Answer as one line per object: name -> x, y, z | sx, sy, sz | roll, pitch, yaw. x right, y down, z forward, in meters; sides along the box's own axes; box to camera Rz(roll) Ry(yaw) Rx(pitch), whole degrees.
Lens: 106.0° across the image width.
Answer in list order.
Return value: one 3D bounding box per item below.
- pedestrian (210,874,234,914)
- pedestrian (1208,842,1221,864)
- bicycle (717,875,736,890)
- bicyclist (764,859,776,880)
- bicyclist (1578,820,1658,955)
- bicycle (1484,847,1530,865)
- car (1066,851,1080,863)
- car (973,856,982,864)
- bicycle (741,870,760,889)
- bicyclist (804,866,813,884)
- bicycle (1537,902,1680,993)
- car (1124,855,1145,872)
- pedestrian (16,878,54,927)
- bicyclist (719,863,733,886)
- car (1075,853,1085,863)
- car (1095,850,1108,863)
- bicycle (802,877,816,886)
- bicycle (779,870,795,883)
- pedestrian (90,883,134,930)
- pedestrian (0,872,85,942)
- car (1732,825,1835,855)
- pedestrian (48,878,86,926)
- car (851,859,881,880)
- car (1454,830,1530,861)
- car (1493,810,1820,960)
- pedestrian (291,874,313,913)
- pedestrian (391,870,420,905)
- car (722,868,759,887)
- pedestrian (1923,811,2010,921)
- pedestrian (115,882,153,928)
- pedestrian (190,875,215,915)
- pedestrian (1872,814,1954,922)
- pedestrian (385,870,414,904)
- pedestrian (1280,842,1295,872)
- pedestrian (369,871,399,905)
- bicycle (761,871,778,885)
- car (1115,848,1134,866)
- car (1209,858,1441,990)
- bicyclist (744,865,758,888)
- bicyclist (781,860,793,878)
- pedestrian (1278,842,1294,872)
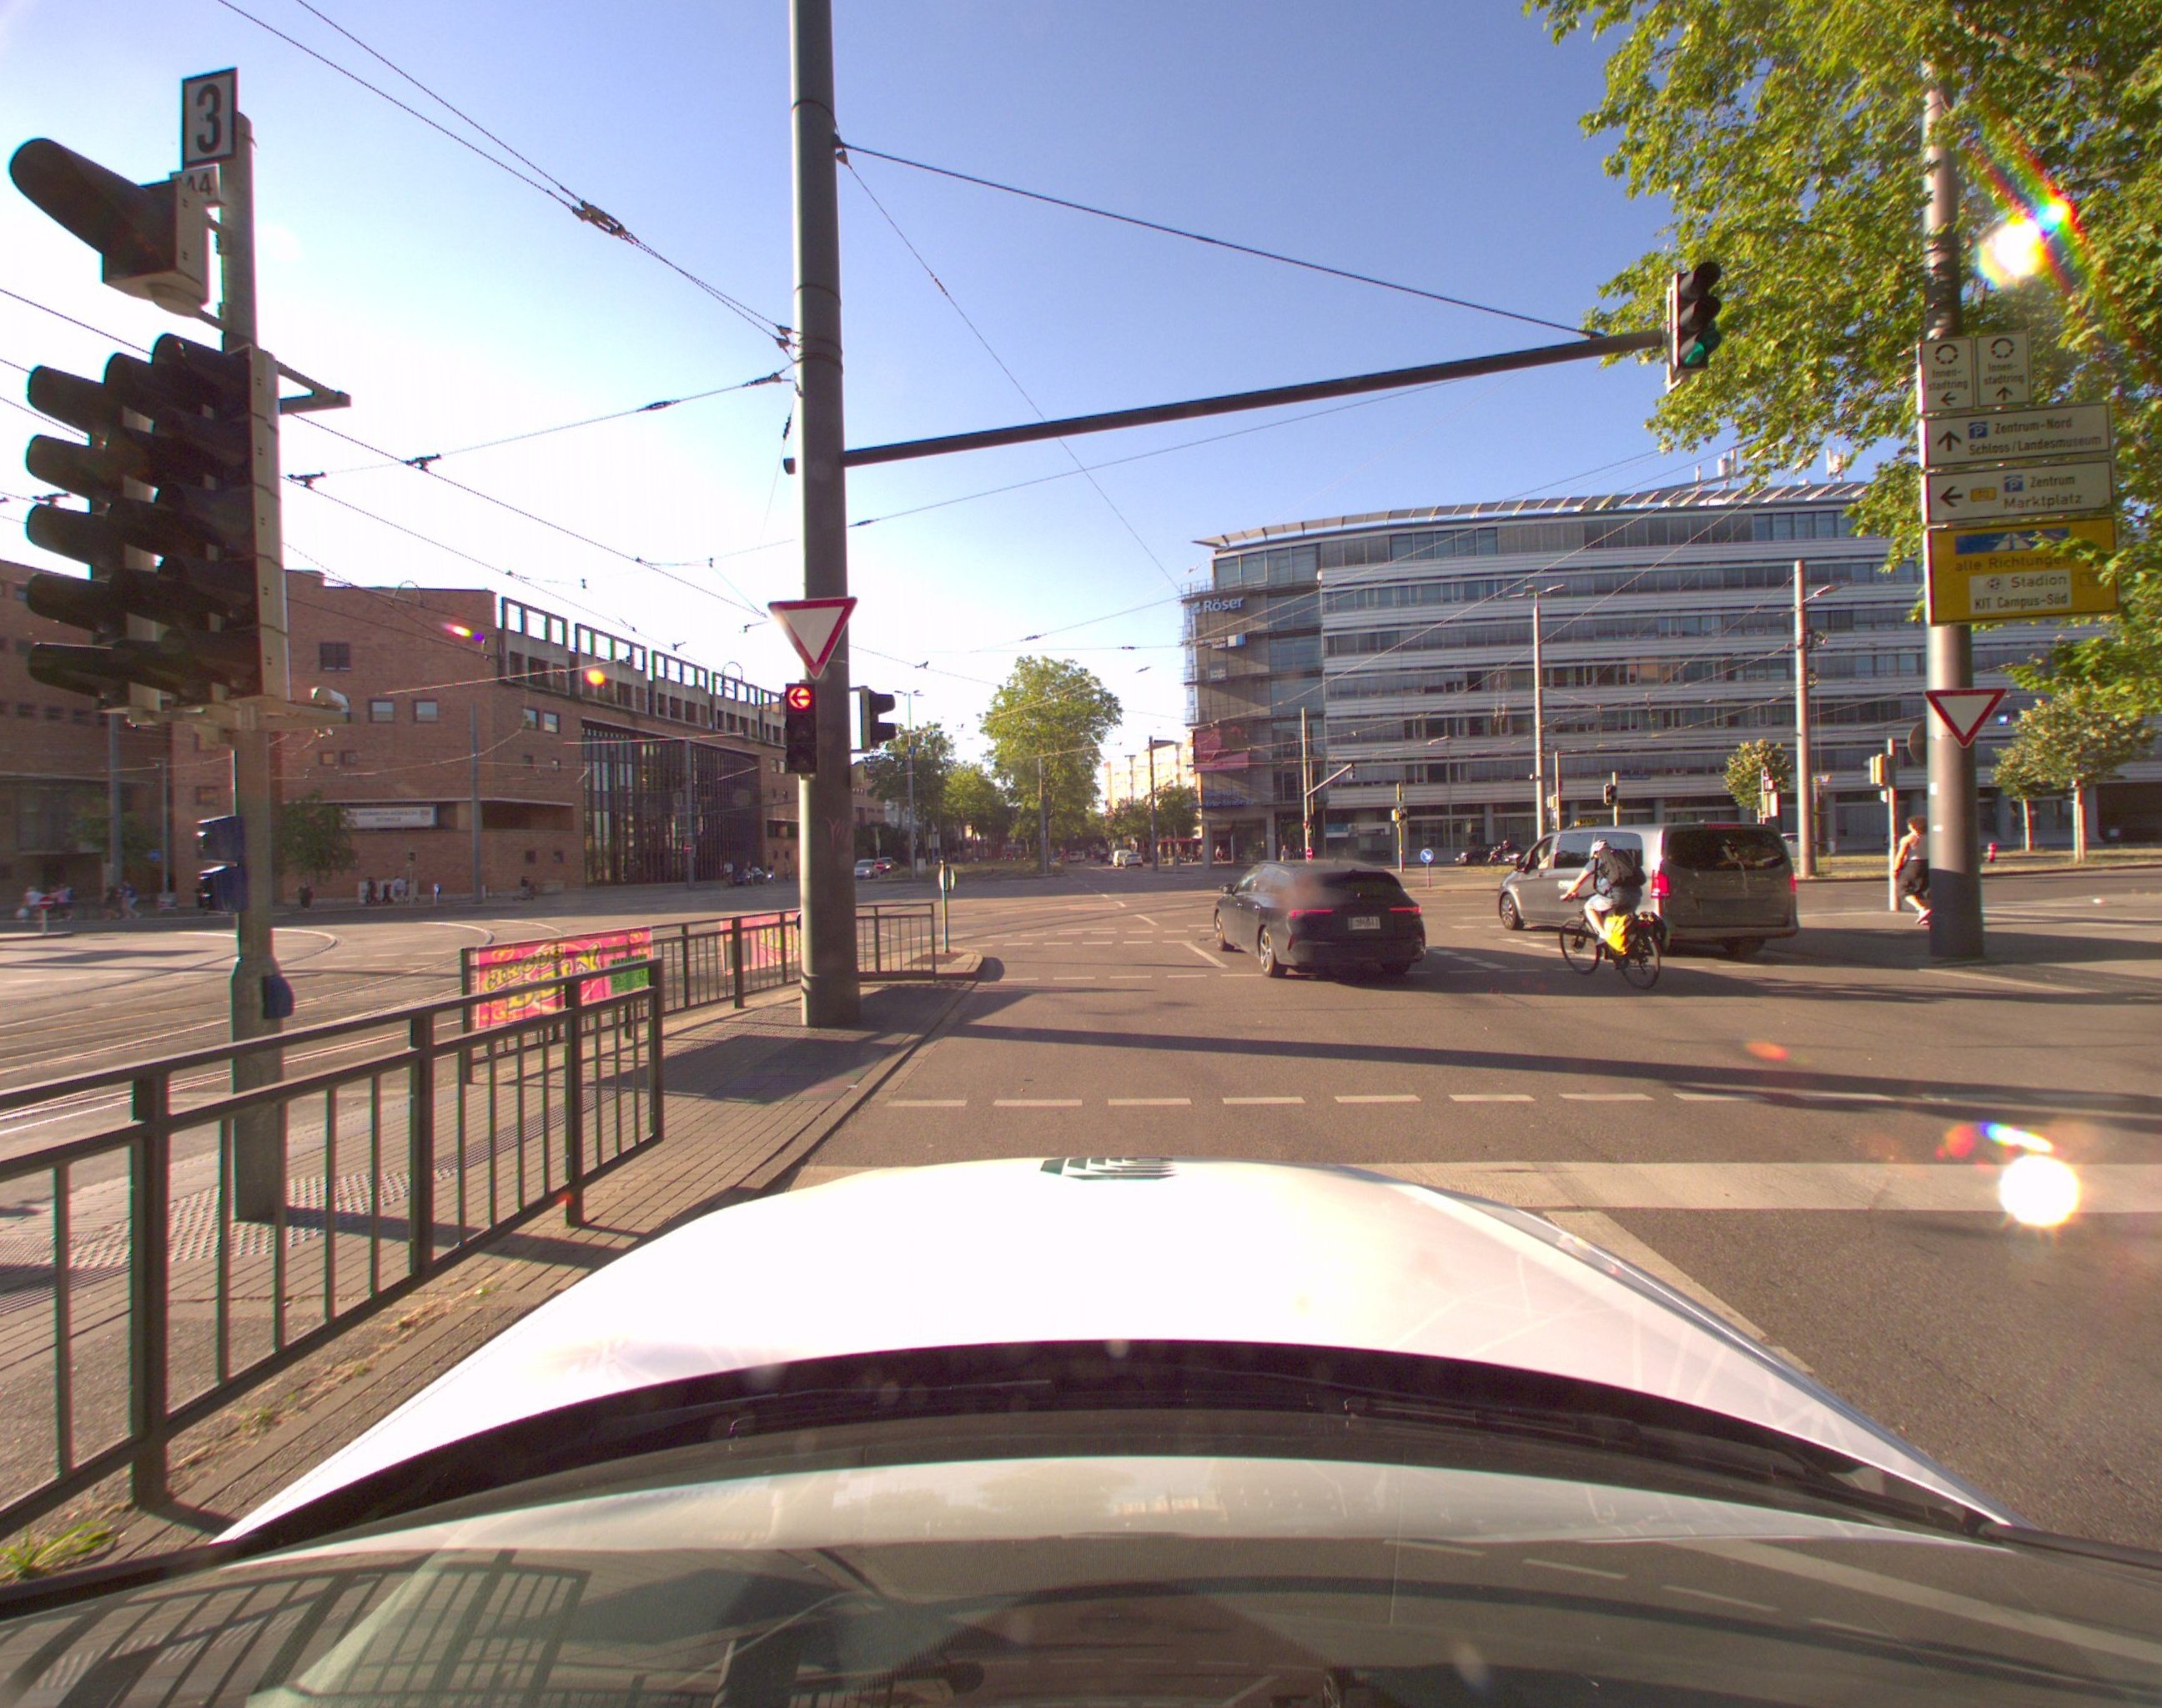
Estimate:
pedestrian -> -44.104, 2.055, 41.809 | 0.615, 2.013, 0.726 | -2, 0, -28
pedestrian -> 13.154, -0.082, 80.280 | 1.305, 2.190, 1.173 | 0, -1, 8
bicycle -> -24.663, 1.985, 56.677 | 0.652, 0.998, 1.896 | -2, 0, -8
bicyclist -> -24.409, 1.218, 63.974 | 0.660, 1.569, 0.757 | -2, 0, -6
bicyclist -> 5.952, 0.351, 9.054 | 0.485, 1.439, 0.616 | -1, 1, 1
bicycle -> 25.614, 0.132, 48.994 | 2.397, 1.022, 0.638 | -2, 0, 6
car -> -1.348, 0.512, 139.481 | 1.985, 2.014, 4.003 | 0, -1, 3
car -> -21.945, 1.212, 172.157 | 1.673, 1.607, 3.994 | 0, -1, -4
bicycle -> -23.385, 1.791, 57.616 | 0.684, 1.142, 2.106 | -2, 2, -6
bicyclist -> -24.466, 1.880, 73.169 | 0.585, 1.625, 0.514 | -2, 0, -3
bicycle -> 5.965, 1.019, 9.332 | 0.489, 0.788, 1.863 | -1, 1, 2
car -> 5.398, 0.960, 82.838 | 2.022, 1.596, 4.001 | 0, -1, 2
pedestrian -> -44.666, 2.070, 34.781 | 0.728, 2.013, 0.614 | -2, 0, -1
bicyclist -> -24.656, 1.404, 56.633 | 0.660, 1.574, 0.757 | -2, 0, -7
car -> -0.176, 0.746, 157.201 | 1.987, 2.014, 4.000 | 0, -1, 0
car -> 3.236, 0.403, 126.763 | 1.986, 2.014, 4.001 | 0, -1, 2
bicycle -> -24.449, 2.461, 73.203 | 0.588, 0.771, 1.966 | -2, 0, -2
bicycle -> -24.378, 1.871, 67.500 | 0.650, 1.050, 2.010 | -1, 0, -3
pedestrian -> -42.349, 2.271, 35.604 | 0.782, 1.983, 0.927 | -2, 0, 0
pedestrian -> -31.000, 1.550, 24.303 | 1.029, 2.014, 1.208 | 0, -1, 1
car -> 38.867, -0.740, 45.123 | 3.968, 1.596, 1.884 | 0, -1, 5
pedestrian -> -44.066, 2.070, 35.399 | 0.782, 2.013, 0.651 | -2, 0, -1
car -> -17.914, 1.274, 67.901 | 1.618, 1.577, 3.994 | -2, 0, -4
car -> 27.096, -0.542, 53.781 | 3.972, 2.014, 2.001 | 0, -1, 2
car -> 8.632, 0.389, 12.928 | 1.992, 1.896, 4.888 | -1, 0, 4
pedestrian -> -40.936, 2.049, 42.797 | 0.615, 2.013, 0.726 | -2, 0, -29
pedestrian -> -41.627, 2.070, 50.203 | 1.003, 2.052, 0.850 | -2, 0, -1
car -> -27.529, 1.844, 65.904 | 1.578, 1.376, 3.710 | -2, 0, -4
pedestrian -> 14.633, 0.196, 13.478 | 0.677, 1.759, 0.746 | -2, 0, 22
pedestrian -> -42.386, 2.278, 36.455 | 0.782, 1.983, 0.751 | -2, 0, -1
pedestrian -> -44.750, 2.079, 41.476 | 0.615, 2.013, 0.726 | -2, 0, -28
pedestrian -> 13.994, 0.229, 13.723 | 0.671, 1.759, 0.746 | -2, 0, 22
pedestrian -> -42.798, 2.086, 51.140 | 1.003, 2.052, 0.850 | -2, 0, -1
pedestrian -> 14.105, 0.186, 55.689 | 0.846, 2.014, 0.708 | 0, -1, 1
pedestrian -> -42.712, 2.076, 49.902 | 1.003, 2.052, 0.850 | -2, 0, -1
bicycle -> -24.347, 1.894, 63.674 | 0.692, 0.998, 1.898 | -2, 0, -5
car -> 4.746, 0.338, 89.710 | 1.986, 2.014, 4.001 | 0, -1, 2
car -> 3.056, 0.786, 11.181 | 1.759, 1.404, 4.293 | -1, 0, -2
bicyclist -> -23.404, 1.610, 57.681 | 0.681, 1.560, 0.757 | -2, 0, -6
bicyclist -> -24.427, 1.247, 67.770 | 0.652, 1.474, 1.031 | -1, -1, -3
pedestrian -> 13.641, 0.217, 54.308 | 0.866, 2.014, 0.794 | 0, -1, 1
